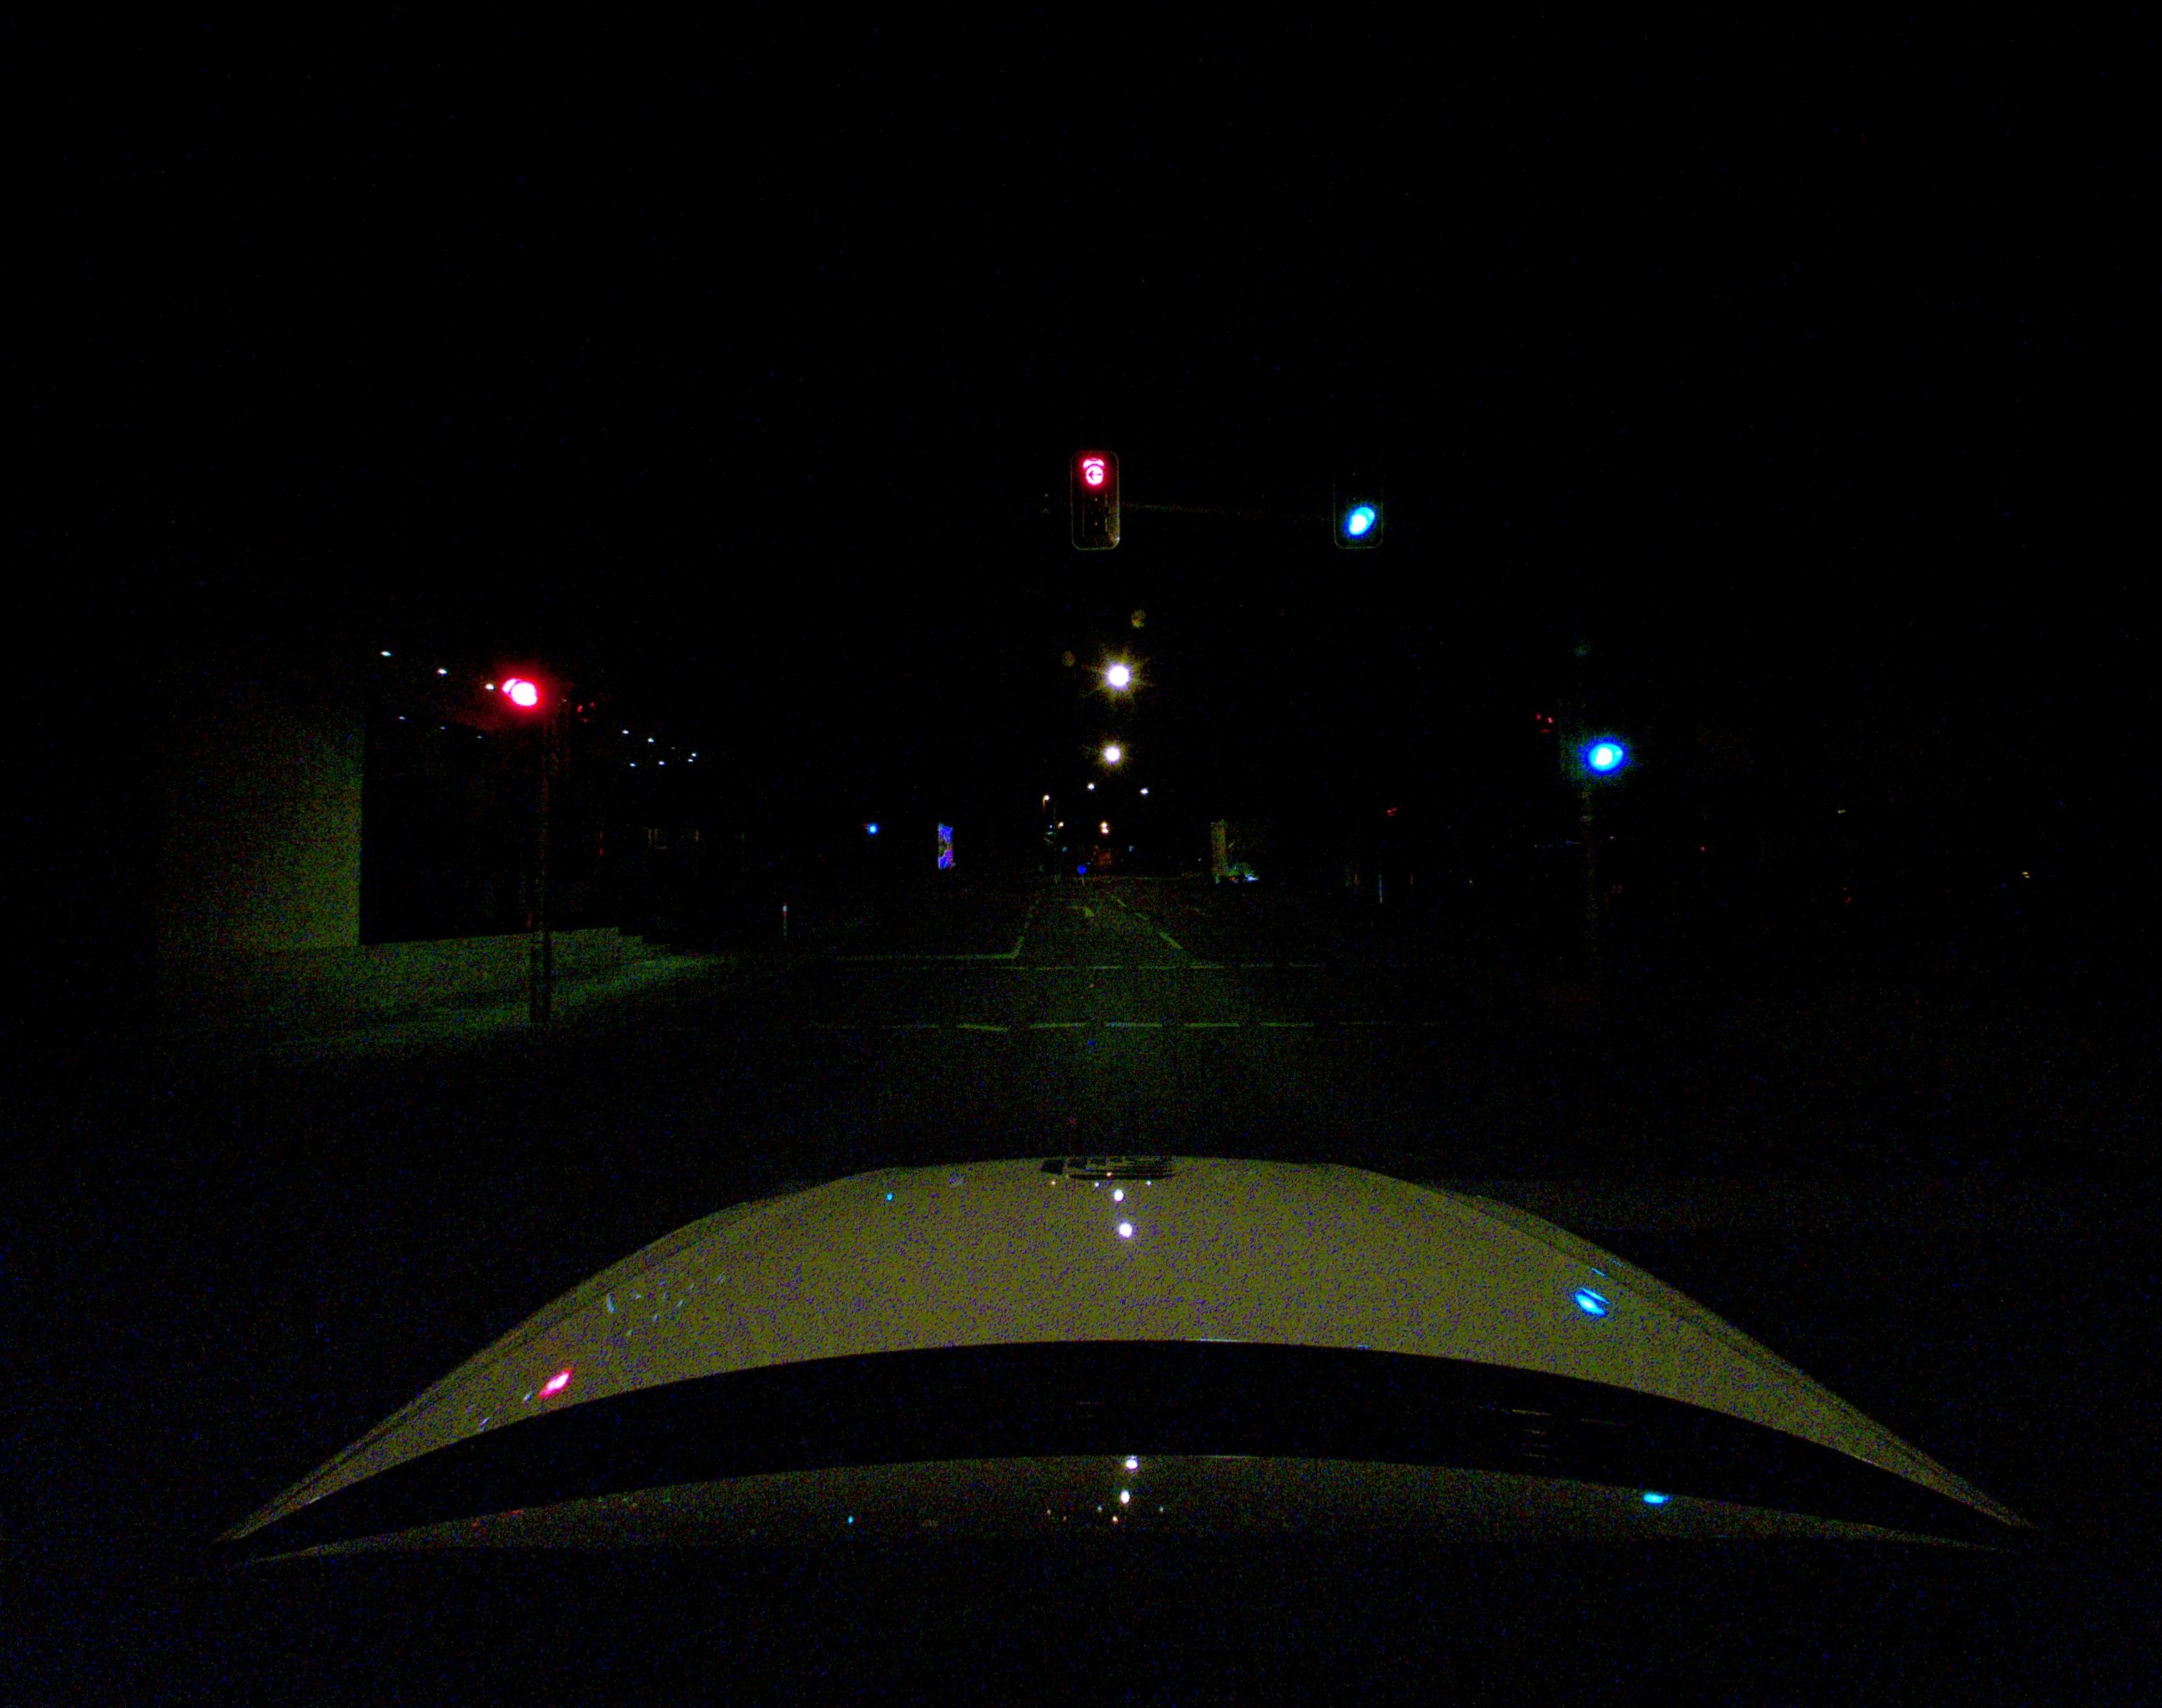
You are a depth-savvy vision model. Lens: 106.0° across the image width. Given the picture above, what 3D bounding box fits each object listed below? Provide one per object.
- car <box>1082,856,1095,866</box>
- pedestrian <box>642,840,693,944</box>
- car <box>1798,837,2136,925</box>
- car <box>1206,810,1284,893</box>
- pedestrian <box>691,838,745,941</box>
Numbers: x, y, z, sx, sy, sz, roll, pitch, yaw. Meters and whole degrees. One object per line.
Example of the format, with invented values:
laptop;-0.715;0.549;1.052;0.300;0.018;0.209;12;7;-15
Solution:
car;1.244;1.164;134.550;1.901;1.557;3.906;0;-1;2
pedestrian;-7.024;0.642;13.848;0.568;1.731;0.544;0;-1;1
car;17.453;0.565;16.277;4.342;1.560;1.807;-2;-3;8
car;6.761;-0.091;34.253;2.287;3.093;5.845;-2;-1;3
pedestrian;-6.493;0.626;14.596;0.568;1.778;0.737;1;-1;1
